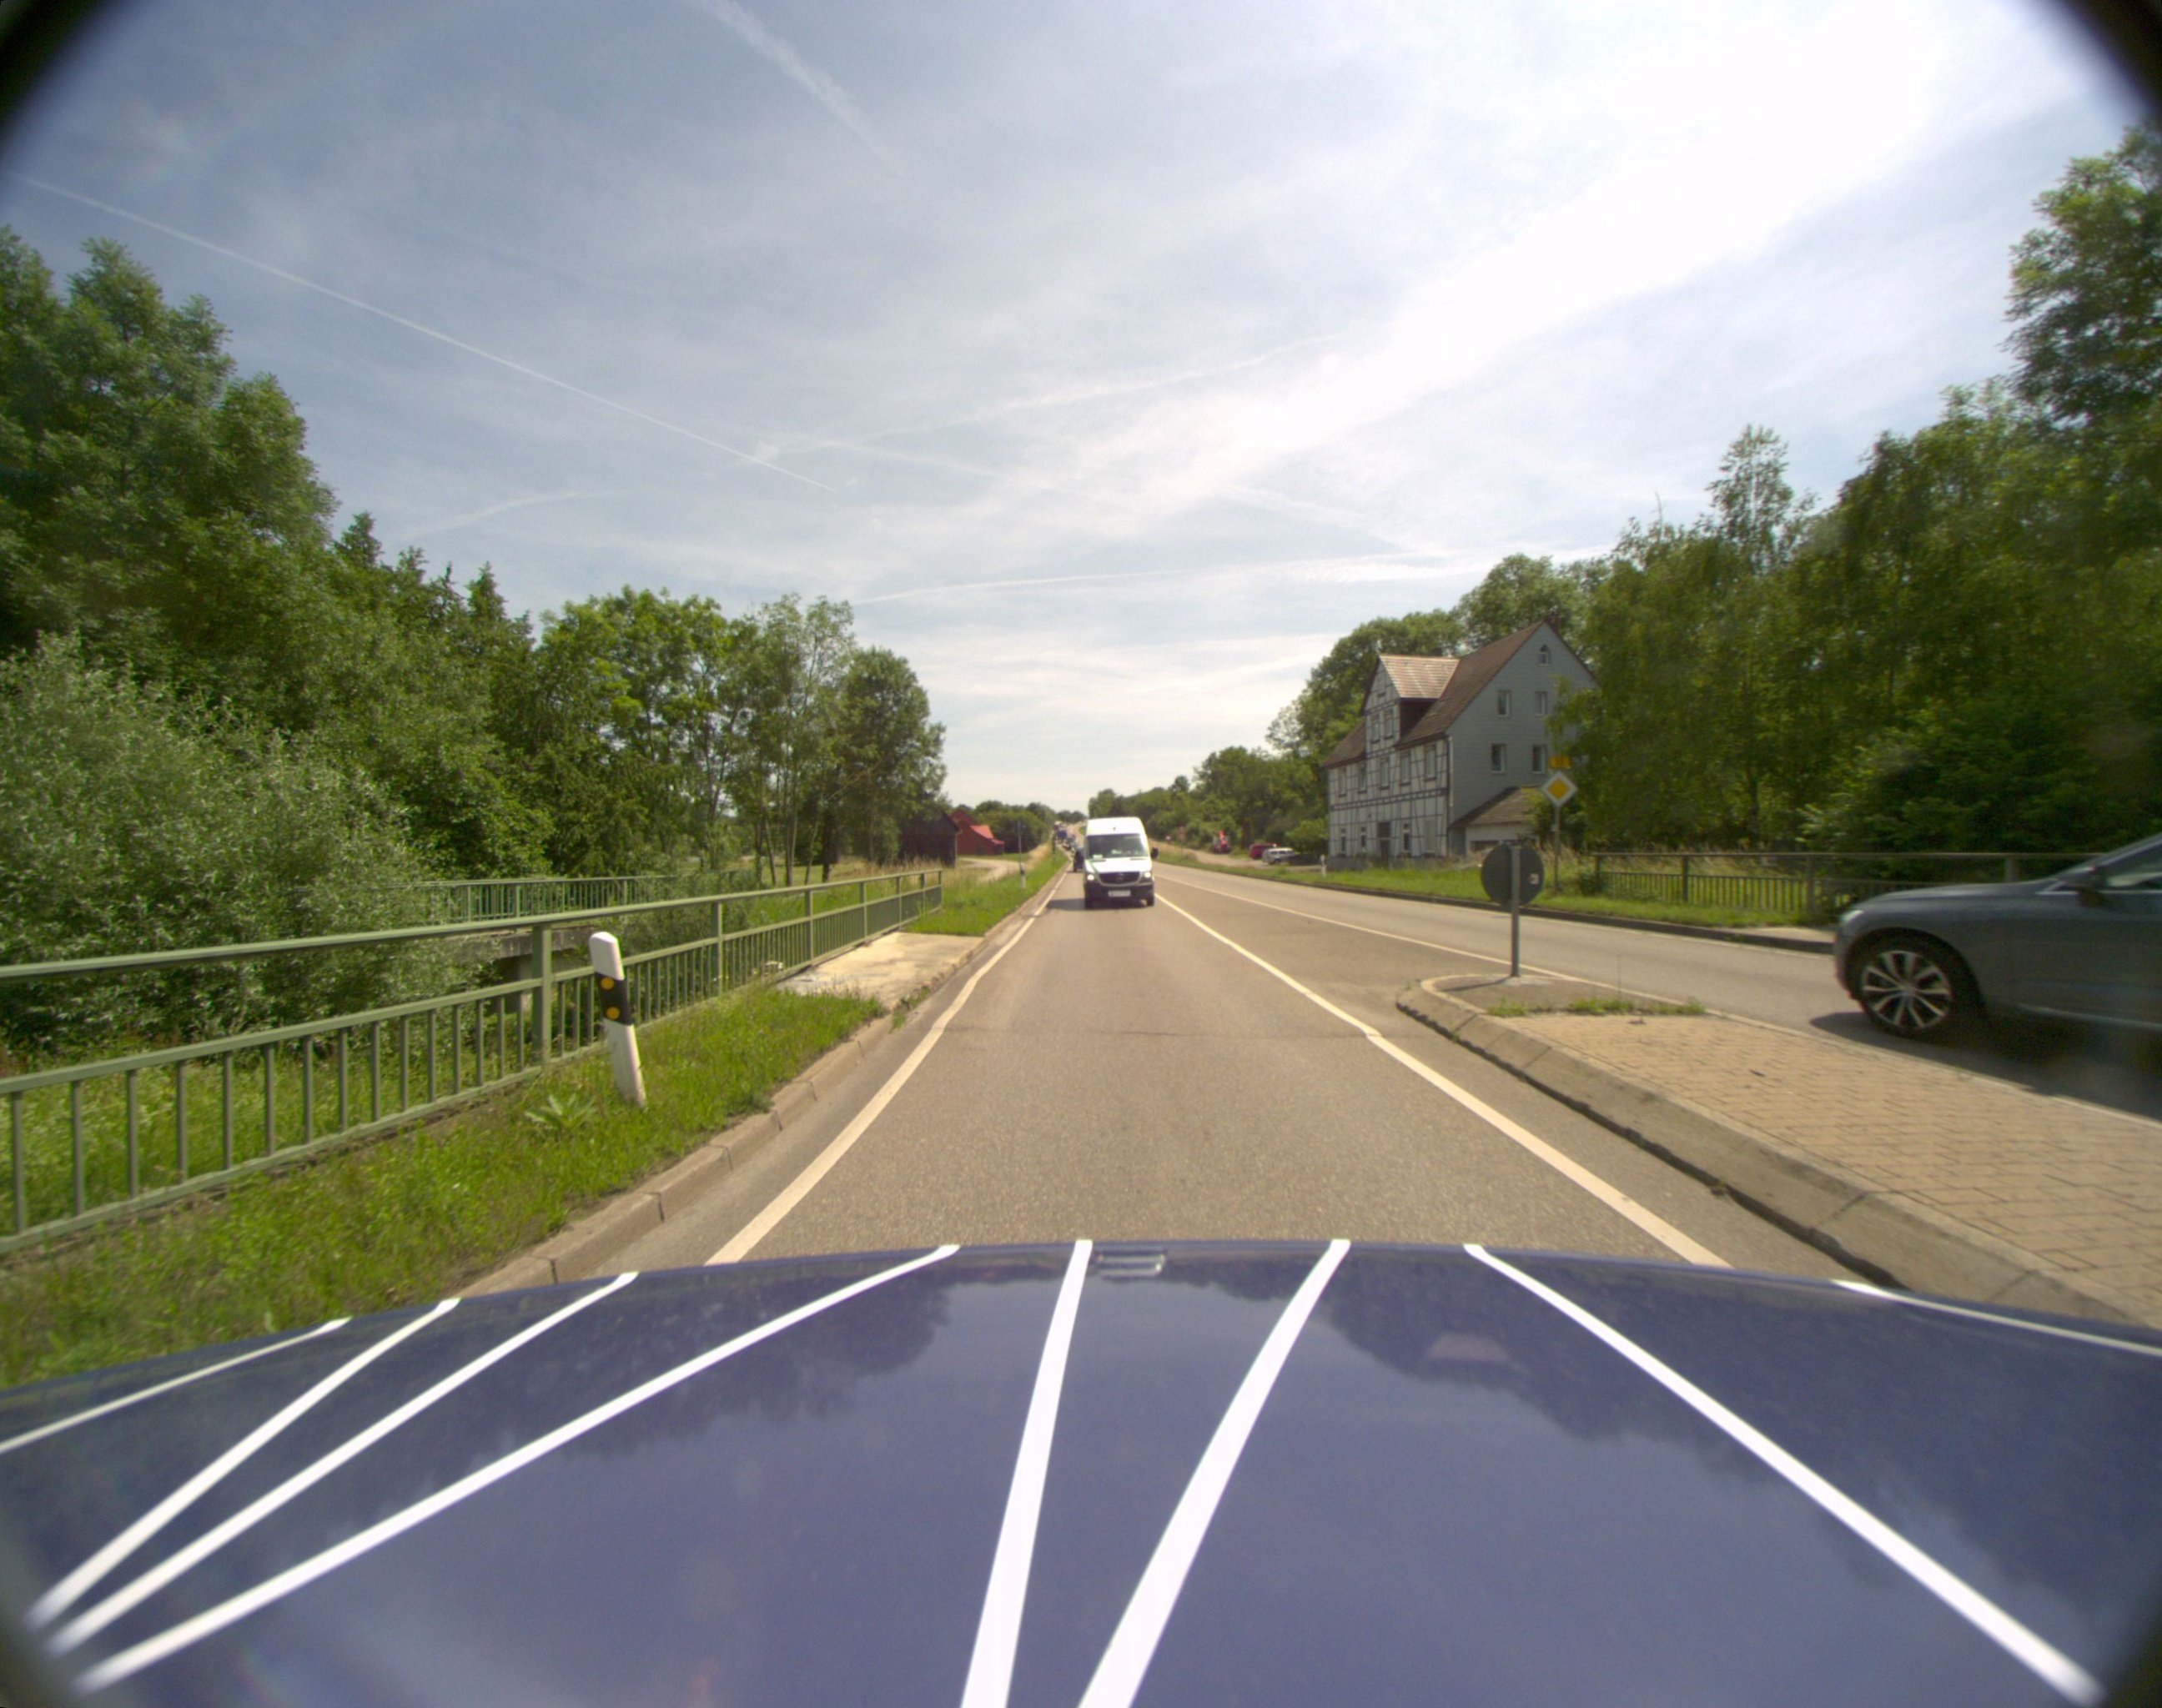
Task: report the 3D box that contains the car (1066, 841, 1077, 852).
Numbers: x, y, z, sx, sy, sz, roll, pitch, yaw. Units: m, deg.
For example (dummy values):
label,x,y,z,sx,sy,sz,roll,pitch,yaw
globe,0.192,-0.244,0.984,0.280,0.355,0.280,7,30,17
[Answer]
label,x,y,z,sx,sy,sz,roll,pitch,yaw
car,-1.597,-1.334,127.049,1.849,1.693,4.240,-1,2,-2

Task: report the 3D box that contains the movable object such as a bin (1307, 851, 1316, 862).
label,x,y,z,sx,sy,sz,roll,pitch,yaw
movable object such as a bin,20.314,0.238,66.993,0.505,0.971,0.654,-2,3,-8

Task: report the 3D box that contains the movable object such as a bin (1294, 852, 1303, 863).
label,x,y,z,sx,sy,sz,roll,pitch,yaw
movable object such as a bin,19.135,0.304,66.813,0.505,0.964,0.654,-2,3,-8

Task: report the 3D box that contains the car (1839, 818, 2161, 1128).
label,x,y,z,sx,sy,sz,roll,pitch,yaw
car,6.698,0.618,3.518,1.953,1.644,4.431,-1,0,0

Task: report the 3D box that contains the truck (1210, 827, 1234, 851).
label,x,y,z,sx,sy,sz,roll,pitch,yaw
truck,18.538,-1.999,100.201,2.031,2.947,6.771,-2,2,1

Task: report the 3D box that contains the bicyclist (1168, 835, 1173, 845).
label,x,y,z,sx,sy,sz,roll,pitch,yaw
bicyclist,15.644,-2.461,133.153,0.750,1.705,0.936,-2,2,3

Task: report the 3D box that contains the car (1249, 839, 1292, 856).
label,x,y,z,sx,sy,sz,roll,pitch,yaw
car,19.747,-0.645,79.303,4.037,1.609,1.832,-2,2,1

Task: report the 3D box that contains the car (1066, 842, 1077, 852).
label,x,y,z,sx,sy,sz,roll,pitch,yaw
car,-1.810,-1.388,141.878,1.849,1.693,4.240,-1,2,-2

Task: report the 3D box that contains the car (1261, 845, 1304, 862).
label,x,y,z,sx,sy,sz,roll,pitch,yaw
car,18.342,-0.063,69.344,3.387,1.457,1.609,-2,2,-6

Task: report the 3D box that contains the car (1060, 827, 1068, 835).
label,x,y,z,sx,sy,sz,roll,pitch,yaw
car,-4.814,-6.448,212.915,1.998,2.166,3.999,-2,1,1

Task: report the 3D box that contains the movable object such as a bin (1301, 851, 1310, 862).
label,x,y,z,sx,sy,sz,roll,pitch,yaw
movable object such as a bin,19.763,0.236,66.966,0.505,0.966,0.654,-2,3,-8

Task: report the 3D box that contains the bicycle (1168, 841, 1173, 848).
label,x,y,z,sx,sy,sz,roll,pitch,yaw
bicycle,15.673,-1.753,133.213,0.750,1.174,2.104,-2,2,3

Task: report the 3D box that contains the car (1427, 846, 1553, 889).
label,x,y,z,sx,sy,sz,roll,pitch,yaw
car,18.350,0.594,34.179,4.676,1.710,1.861,-2,-1,-4

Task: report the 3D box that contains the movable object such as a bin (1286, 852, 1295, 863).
label,x,y,z,sx,sy,sz,roll,pitch,yaw
movable object such as a bin,18.425,0.346,66.835,0.505,0.931,0.654,-2,3,-8

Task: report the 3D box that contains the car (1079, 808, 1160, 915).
label,x,y,z,sx,sy,sz,roll,pitch,yaw
car,0.988,0.163,22.171,1.960,2.655,5.680,-2,1,0

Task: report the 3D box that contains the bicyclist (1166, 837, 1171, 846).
label,x,y,z,sx,sy,sz,roll,pitch,yaw
bicyclist,15.736,-2.288,137.072,0.750,1.586,0.936,-2,2,1

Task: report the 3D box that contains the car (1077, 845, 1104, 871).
label,x,y,z,sx,sy,sz,roll,pitch,yaw
car,0.655,0.282,53.428,1.848,1.692,4.243,-1,0,0

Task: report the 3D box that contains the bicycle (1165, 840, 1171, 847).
label,x,y,z,sx,sy,sz,roll,pitch,yaw
bicycle,15.751,-1.884,137.098,0.750,1.206,2.104,-2,2,1
